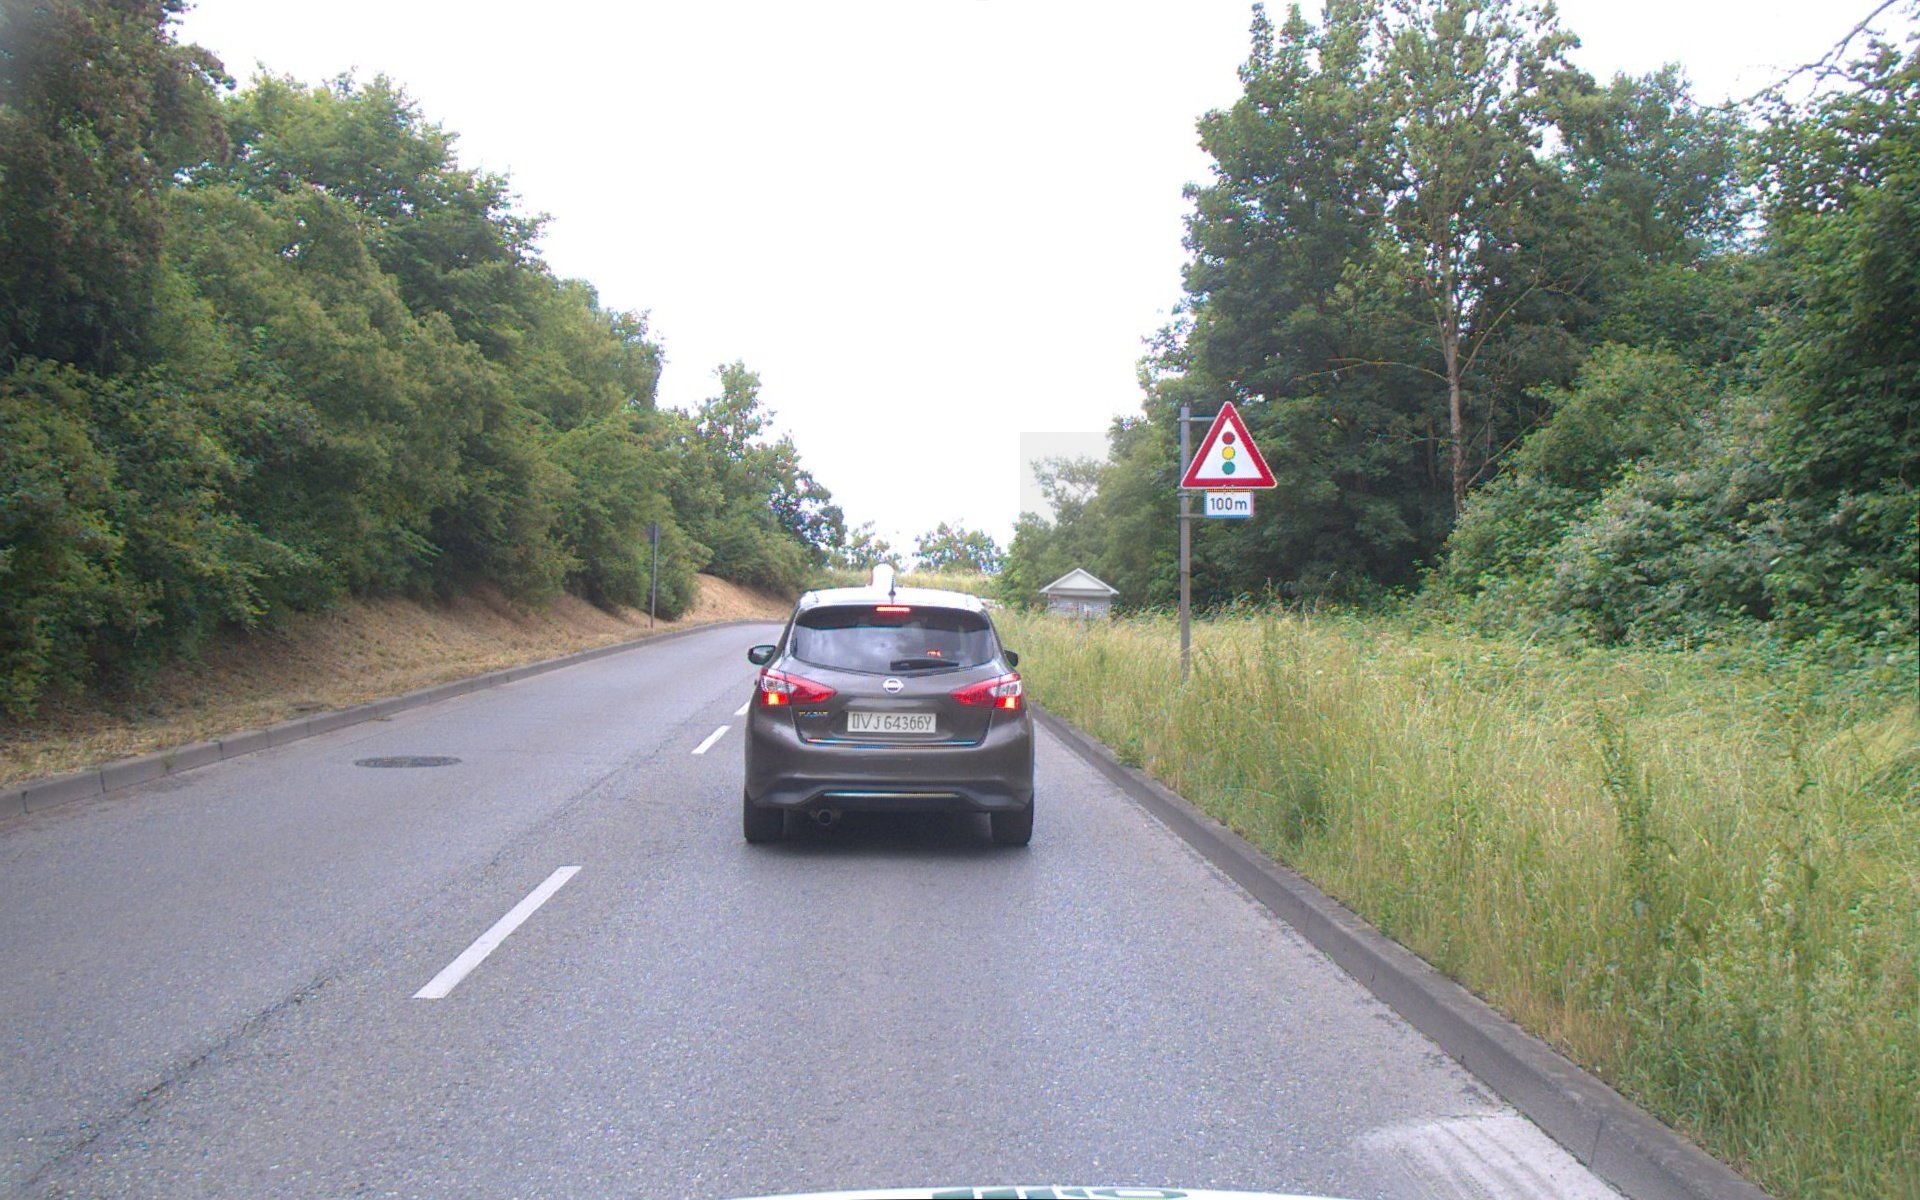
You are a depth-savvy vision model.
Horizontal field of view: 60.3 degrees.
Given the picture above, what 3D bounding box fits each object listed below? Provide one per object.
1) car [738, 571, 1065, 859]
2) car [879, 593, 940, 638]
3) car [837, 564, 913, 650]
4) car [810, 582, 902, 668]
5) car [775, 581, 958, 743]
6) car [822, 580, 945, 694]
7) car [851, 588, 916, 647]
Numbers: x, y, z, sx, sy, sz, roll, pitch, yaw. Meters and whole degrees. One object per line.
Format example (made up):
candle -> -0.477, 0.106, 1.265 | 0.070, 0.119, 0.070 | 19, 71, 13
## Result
car -> -0.431, 0.634, 10.940 | 1.794, 1.583, 3.496 | 1, 0, -4
car -> -1.771, 0.521, 58.948 | 1.699, 1.553, 3.644 | 0, 0, 6
car -> -1.985, 0.146, 39.382 | 1.701, 1.968, 3.542 | 0, 0, -2
car -> -1.979, 0.456, 32.327 | 1.701, 1.583, 3.542 | 0, 0, -2
car -> -0.975, 0.592, 17.998 | 1.793, 1.583, 3.623 | 0, 0, -2
car -> -1.114, 0.503, 24.651 | 1.701, 1.583, 3.542 | 0, 0, -2
car -> -2.092, 0.455, 45.163 | 1.701, 1.553, 3.541 | 0, 0, -3
